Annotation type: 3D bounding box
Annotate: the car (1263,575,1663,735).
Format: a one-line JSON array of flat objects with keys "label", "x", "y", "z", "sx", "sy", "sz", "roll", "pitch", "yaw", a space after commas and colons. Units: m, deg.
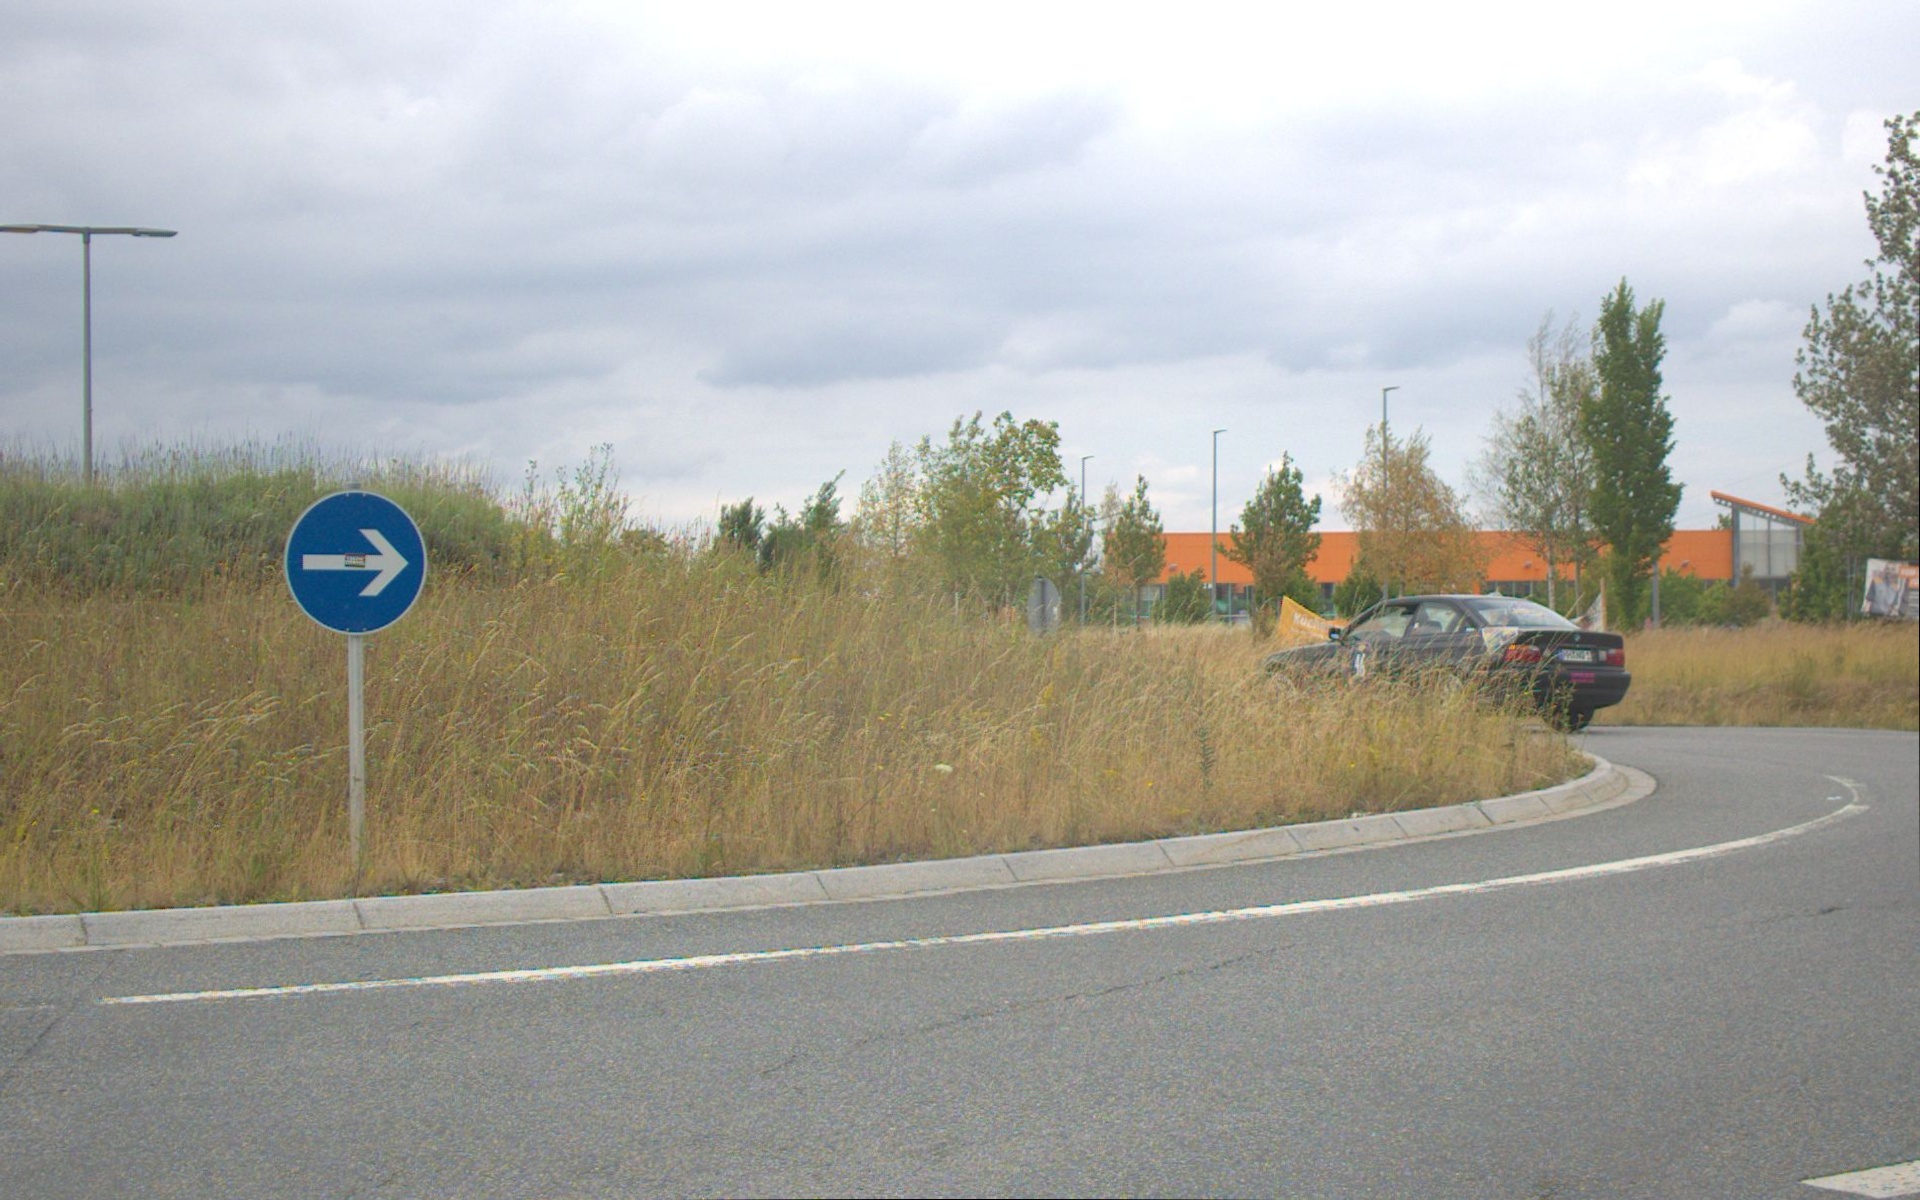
[{"label": "car", "x": 4.918, "y": 0.495, "z": 34.124, "sx": 1.738, "sy": 1.399, "sz": 3.998, "roll": -1, "pitch": 2, "yaw": -32}]
